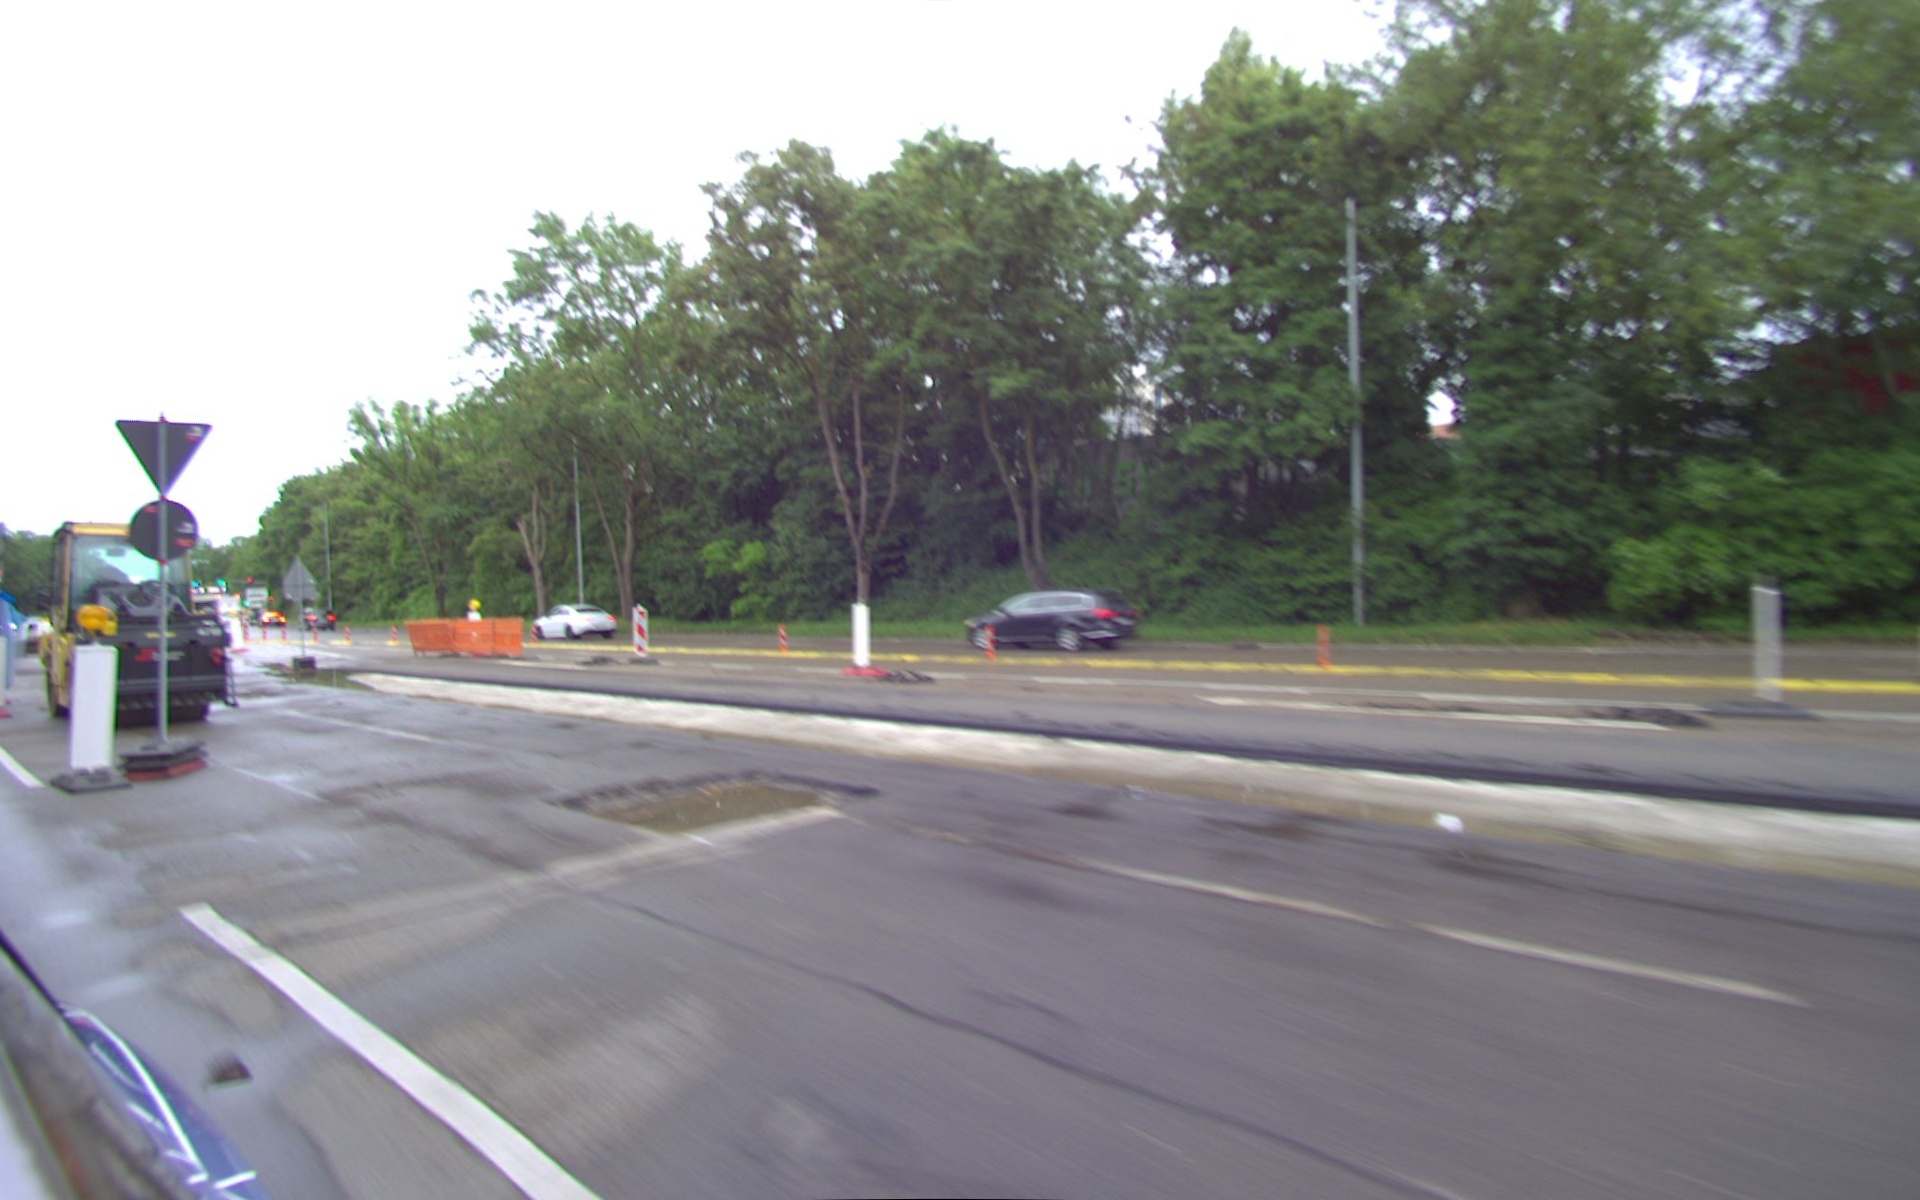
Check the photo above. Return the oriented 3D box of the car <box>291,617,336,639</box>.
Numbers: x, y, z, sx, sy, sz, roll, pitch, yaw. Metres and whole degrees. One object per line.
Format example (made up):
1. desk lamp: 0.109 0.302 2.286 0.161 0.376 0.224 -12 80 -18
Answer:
1. car: -48.676 2.104 76.184 4.766 1.626 1.656 -2 -1 43

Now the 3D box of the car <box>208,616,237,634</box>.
1. car: -69.496 2.315 95.370 1.655 1.626 3.772 0 -1 -45

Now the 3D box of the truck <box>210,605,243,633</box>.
1. truck: -107.069 2.725 147.690 3.104 3.860 9.661 -1 0 -40

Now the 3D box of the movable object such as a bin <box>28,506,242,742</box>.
1. movable object such as a bin: -12.629 0.329 15.341 5.245 3.008 1.784 -1 0 43

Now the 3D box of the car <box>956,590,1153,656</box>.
1. car: 2.271 0.559 25.096 4.678 1.463 1.766 -2 0 40

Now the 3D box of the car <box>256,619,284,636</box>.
1. car: -63.940 2.540 93.780 1.601 1.495 3.611 0 -1 -43

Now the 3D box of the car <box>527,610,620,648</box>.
1. car: -16.016 1.180 41.818 4.468 1.437 1.765 -1 0 42
